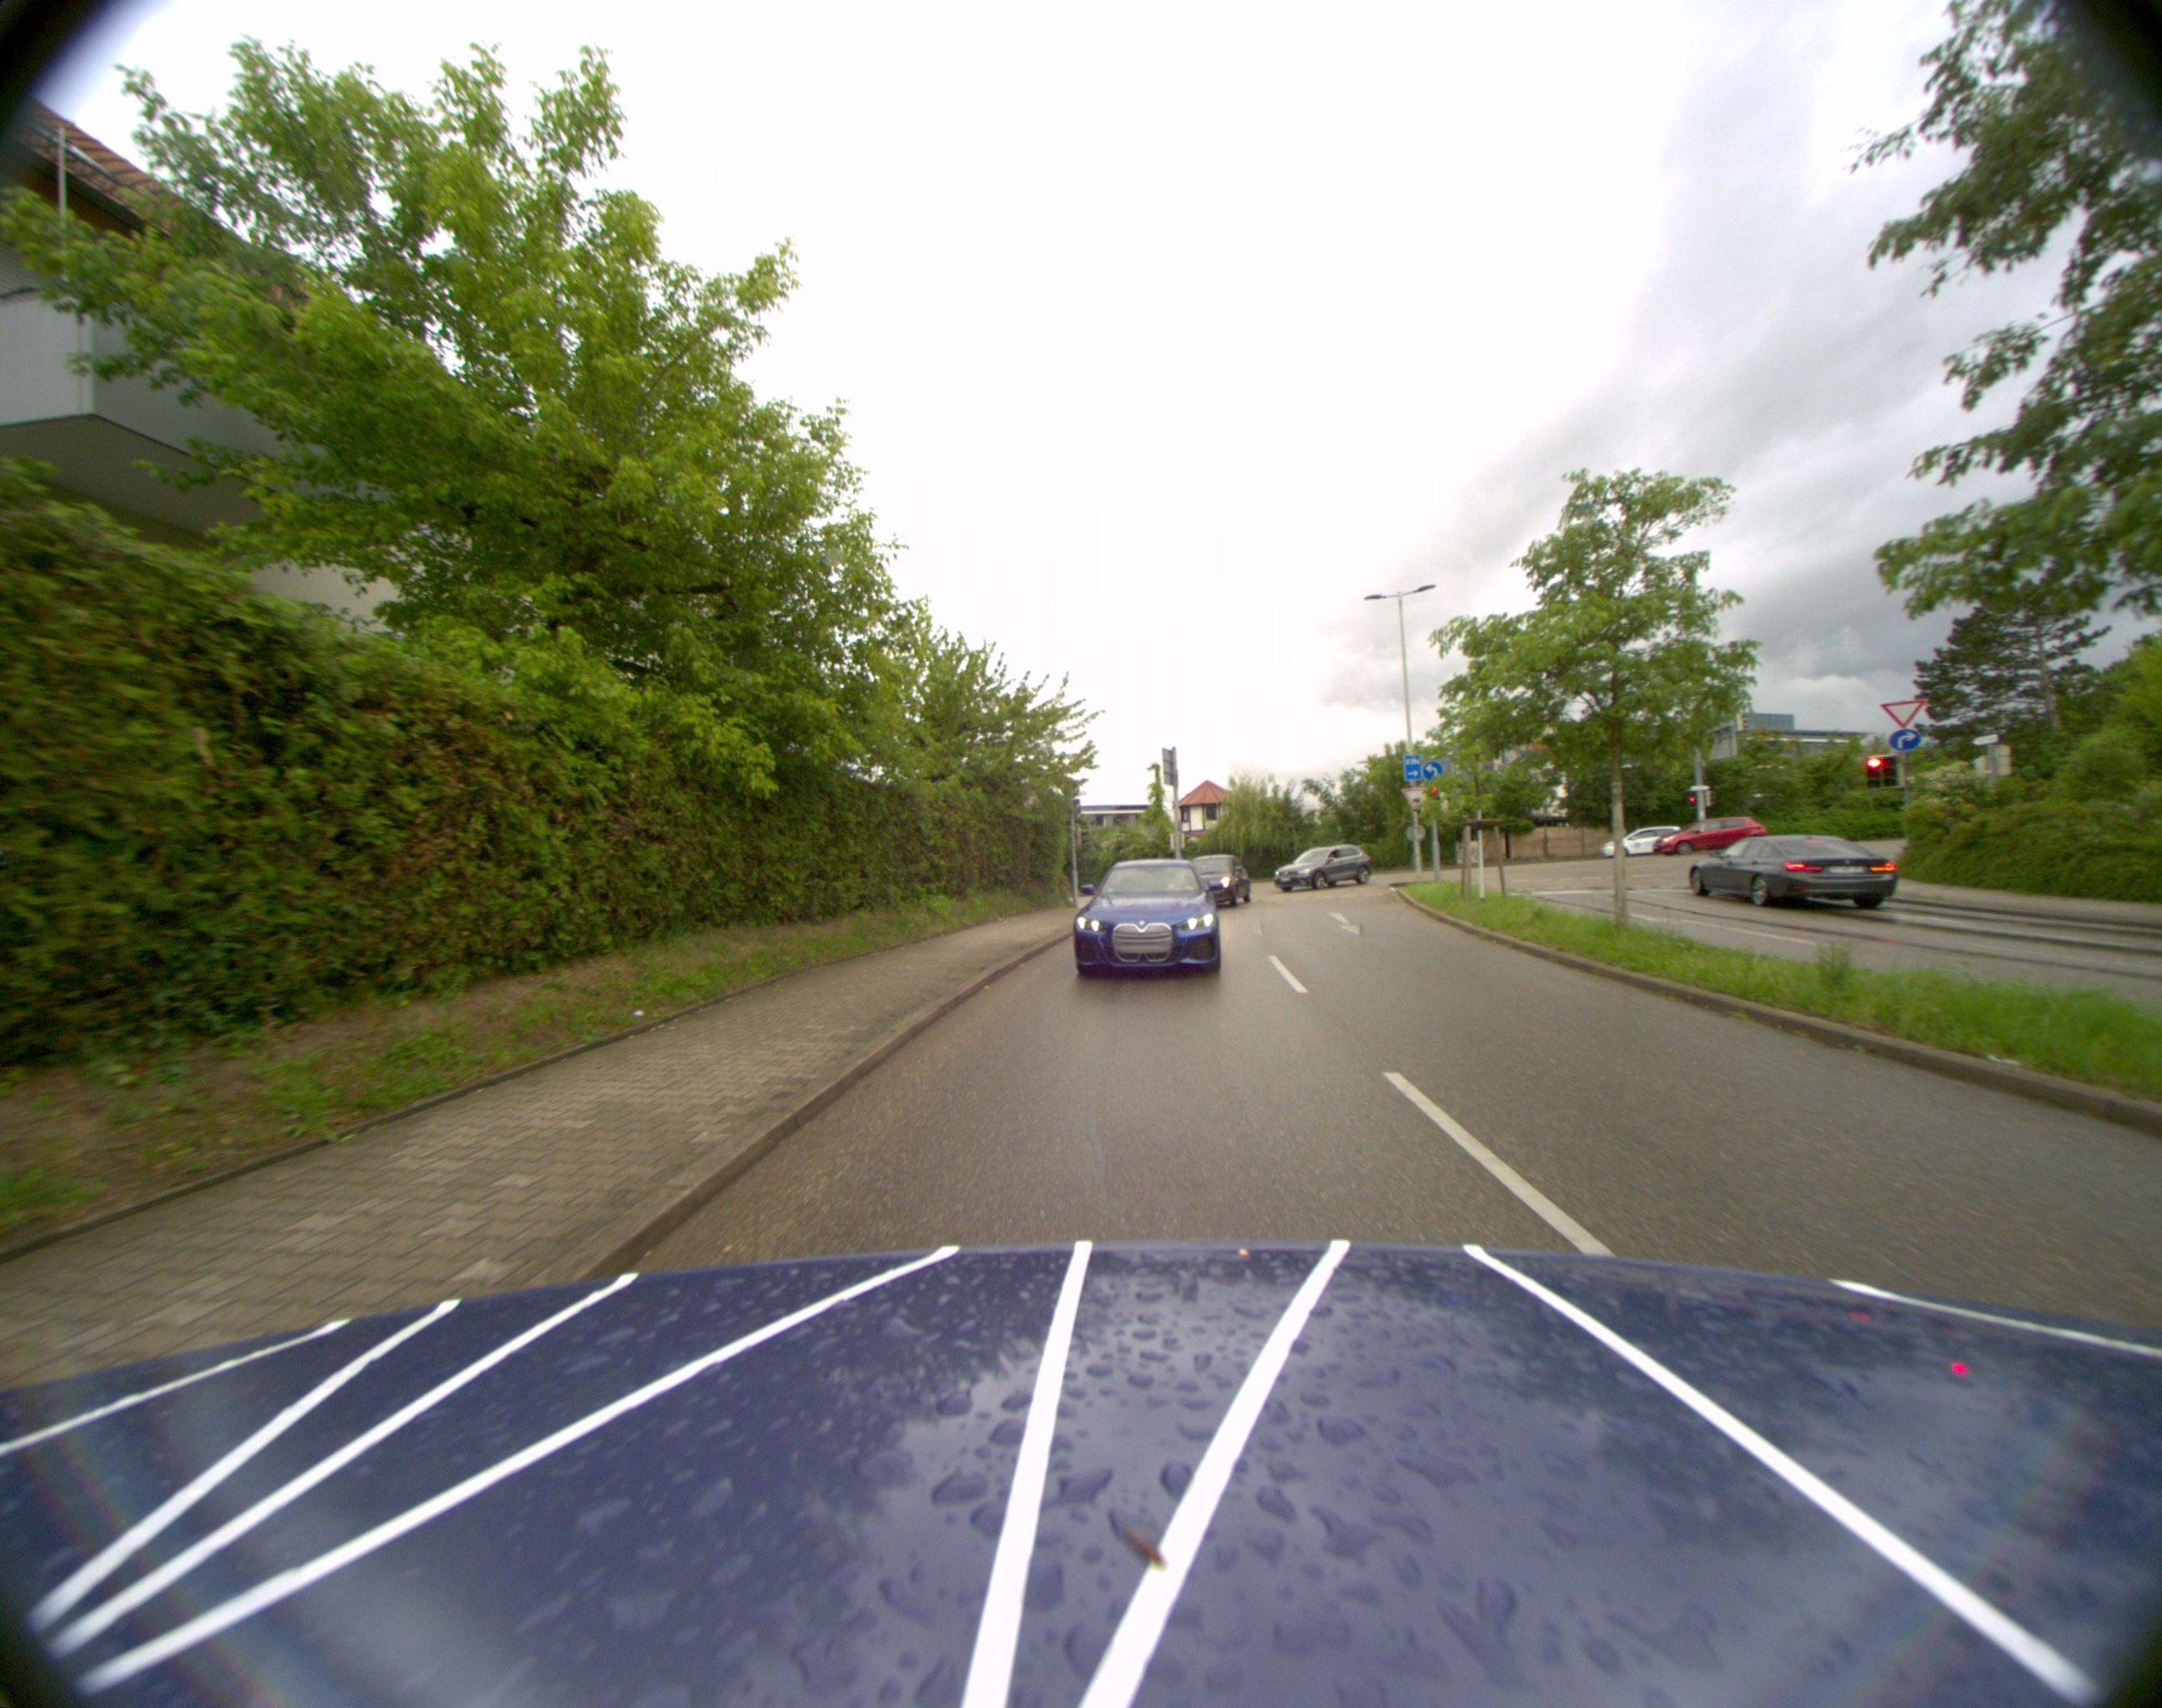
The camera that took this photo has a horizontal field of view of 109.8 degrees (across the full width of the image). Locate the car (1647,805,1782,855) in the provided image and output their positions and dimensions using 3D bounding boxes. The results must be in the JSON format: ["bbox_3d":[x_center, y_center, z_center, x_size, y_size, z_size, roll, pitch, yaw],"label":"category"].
[{"bbox_3d":[27.340,-0.987,32.959,3.992,1.715,1.872,-6,-2,19],"label":"car"}]

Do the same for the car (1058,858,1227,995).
[{"bbox_3d":[1.113,0.882,11.073,1.912,1.487,4.352,-3,0,11],"label":"car"}]

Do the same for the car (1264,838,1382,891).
[{"bbox_3d":[9.841,0.434,30.855,4.312,1.739,1.966,-4,-2,-27],"label":"car"}]

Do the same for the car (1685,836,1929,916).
[{"bbox_3d":[15.004,0.412,16.121,1.996,1.429,4.554,-1,0,18],"label":"car"}]

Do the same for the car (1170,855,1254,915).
[{"bbox_3d":[4.007,0.858,22.681,1.744,1.509,4.006,-6,-2,19],"label":"car"}]

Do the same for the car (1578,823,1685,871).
[{"bbox_3d":[28.330,-0.330,39.266,3.992,2.001,2.003,-6,-2,22],"label":"car"}]
